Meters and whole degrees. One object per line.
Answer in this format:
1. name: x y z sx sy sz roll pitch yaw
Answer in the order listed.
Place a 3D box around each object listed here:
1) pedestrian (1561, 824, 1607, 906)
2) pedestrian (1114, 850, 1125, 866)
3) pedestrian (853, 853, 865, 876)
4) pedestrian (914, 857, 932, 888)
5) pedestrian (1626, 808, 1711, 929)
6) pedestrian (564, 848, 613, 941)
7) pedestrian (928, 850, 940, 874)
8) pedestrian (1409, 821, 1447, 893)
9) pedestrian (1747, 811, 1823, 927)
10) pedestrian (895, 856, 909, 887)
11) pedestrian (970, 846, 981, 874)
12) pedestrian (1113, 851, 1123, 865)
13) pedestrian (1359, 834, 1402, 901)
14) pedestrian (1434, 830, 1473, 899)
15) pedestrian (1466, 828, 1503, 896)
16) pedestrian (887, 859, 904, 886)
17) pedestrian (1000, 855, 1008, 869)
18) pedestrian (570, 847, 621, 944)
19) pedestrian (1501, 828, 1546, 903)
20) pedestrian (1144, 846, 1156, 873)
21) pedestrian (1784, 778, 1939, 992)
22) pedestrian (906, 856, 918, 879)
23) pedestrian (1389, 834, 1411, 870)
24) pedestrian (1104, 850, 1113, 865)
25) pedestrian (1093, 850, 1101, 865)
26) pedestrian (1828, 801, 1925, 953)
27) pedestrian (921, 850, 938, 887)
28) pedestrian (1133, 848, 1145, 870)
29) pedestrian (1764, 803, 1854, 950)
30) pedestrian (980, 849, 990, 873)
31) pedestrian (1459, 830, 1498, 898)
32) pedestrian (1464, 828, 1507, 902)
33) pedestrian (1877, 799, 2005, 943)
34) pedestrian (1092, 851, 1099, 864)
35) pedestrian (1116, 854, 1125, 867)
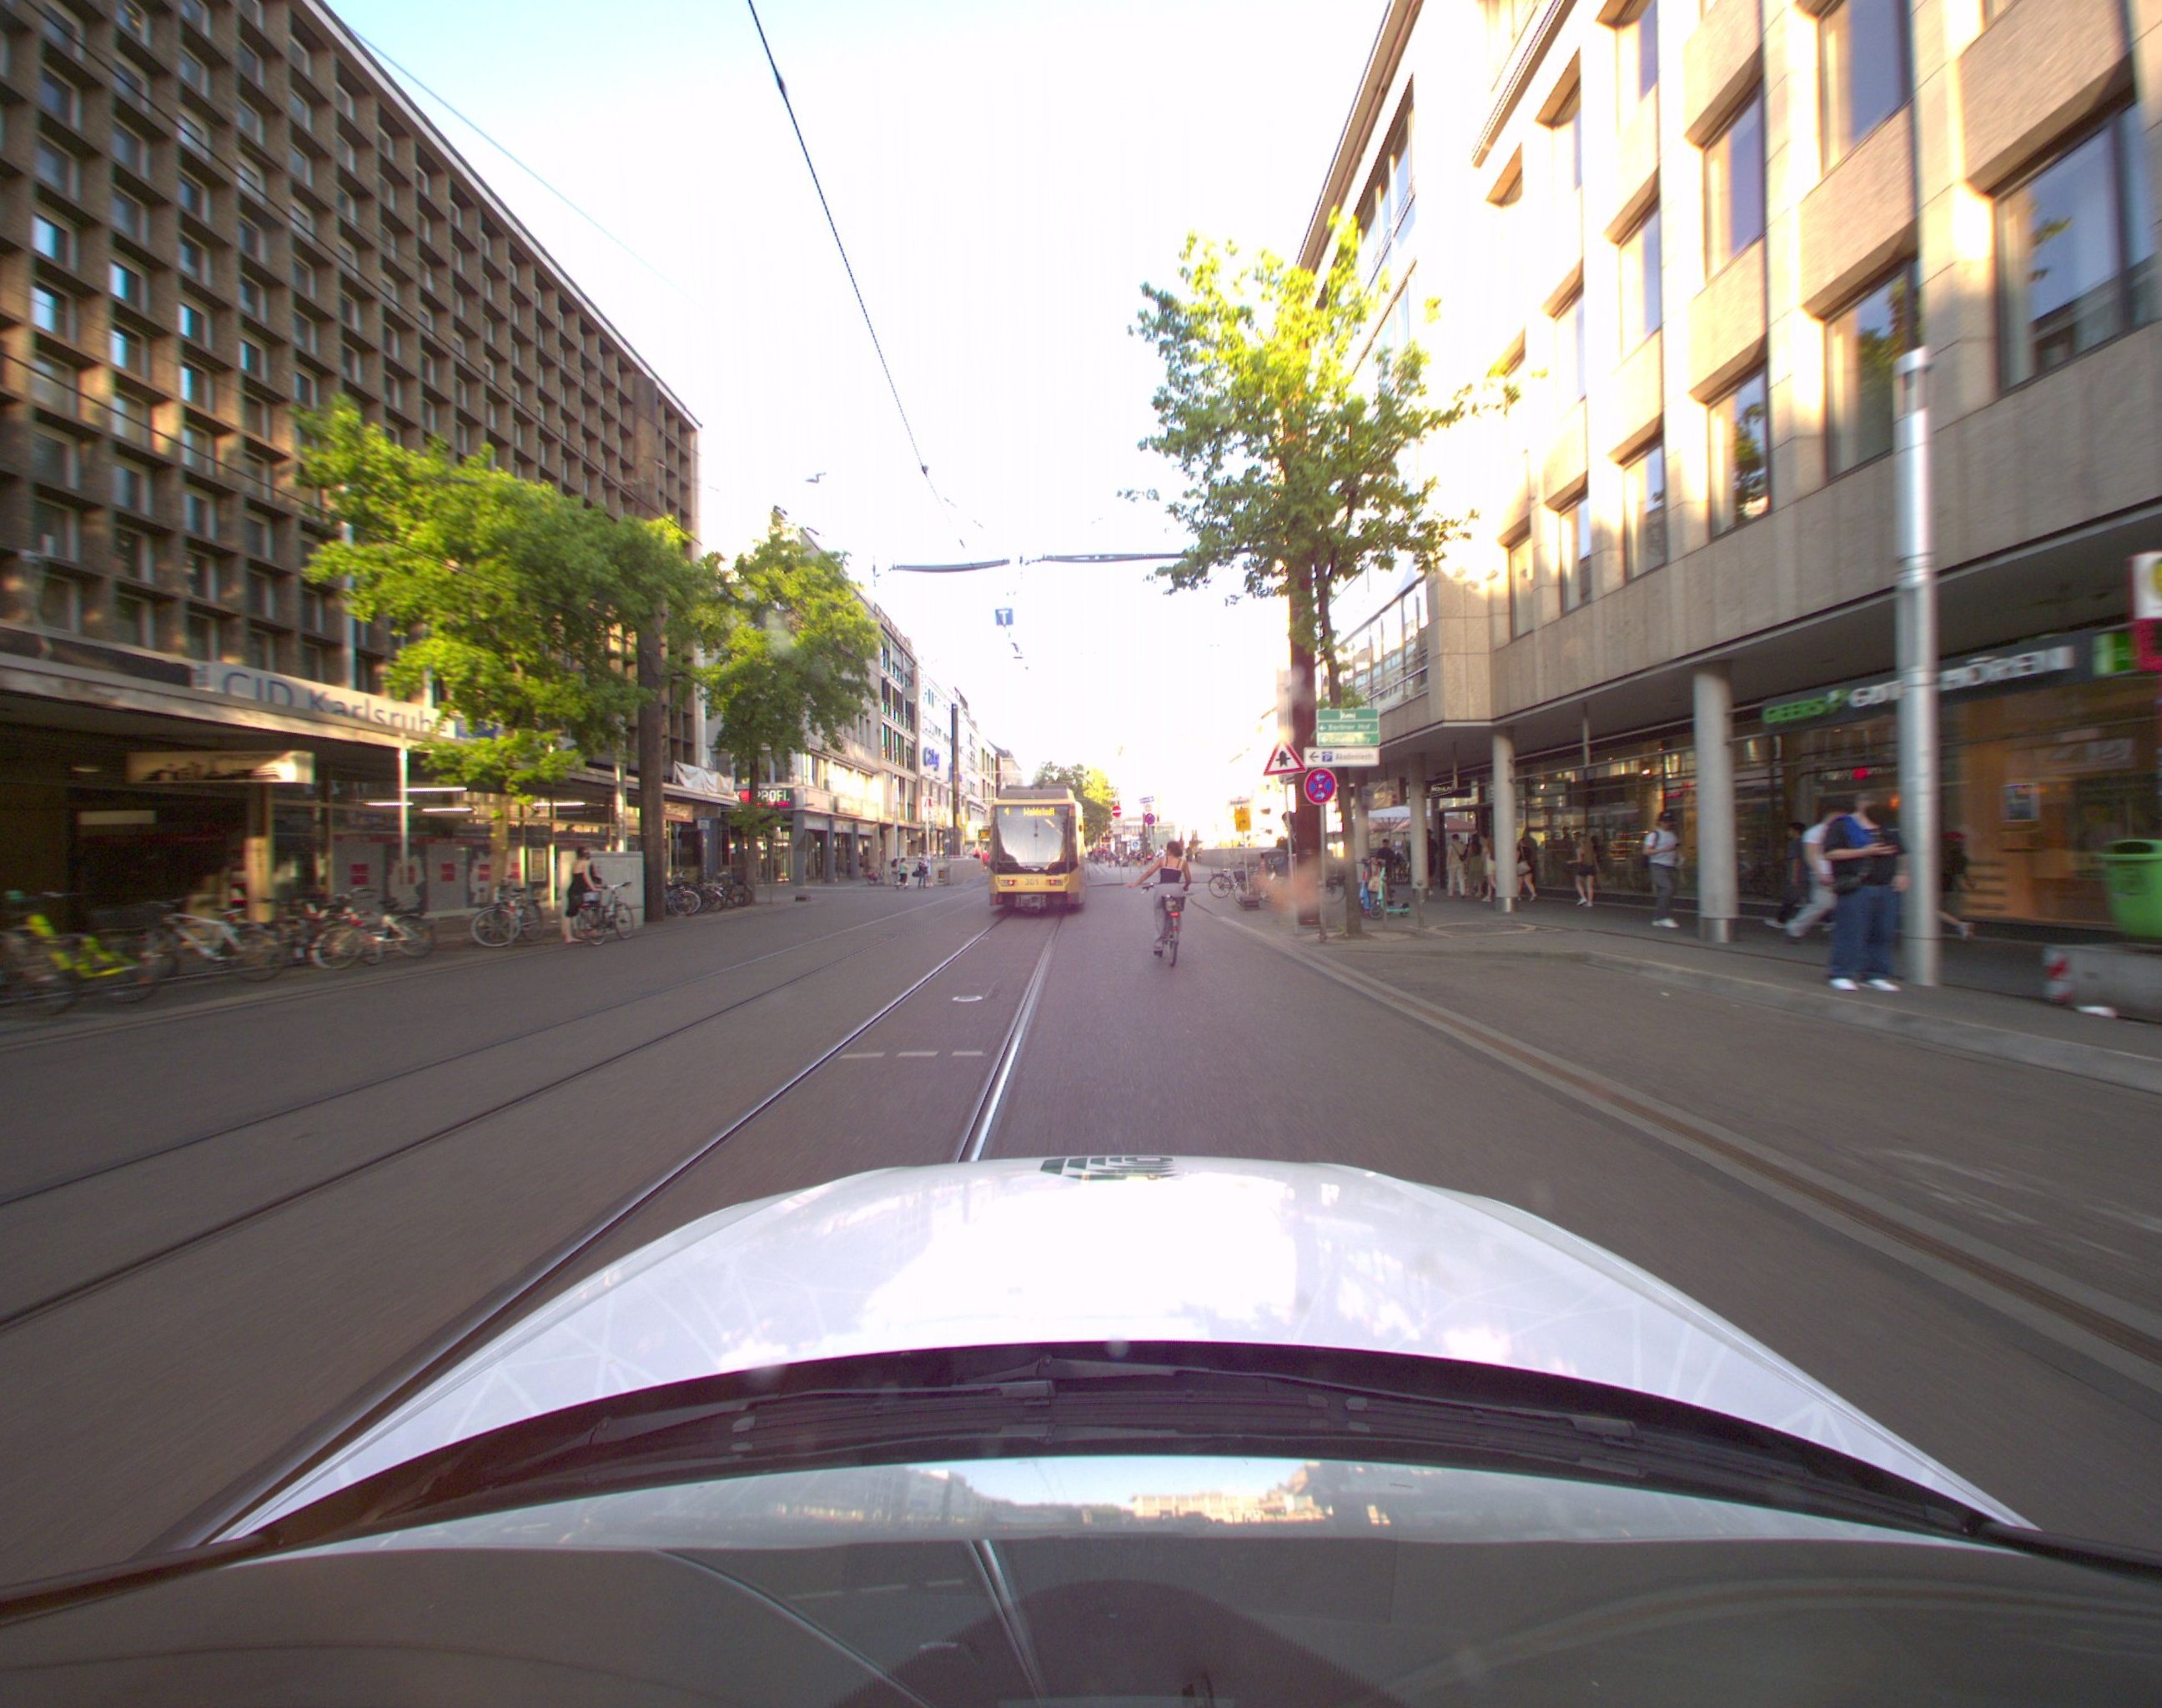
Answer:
1. pedestrian: 10.904 0.230 17.666 0.568 1.731 0.617 -2 0 -1
2. pedestrian: 3.975 0.410 83.773 0.759 1.579 0.800 -1 0 30
3. pedestrian: -16.862 0.767 61.893 0.711 1.725 0.709 -1 -1 -2
4. pedestrian: -7.910 0.923 40.677 0.680 1.542 0.607 -2 -1 8
5. pedestrian: 9.356 0.223 13.000 0.666 1.839 0.880 -2 -1 0
6. pedestrian: -9.184 0.734 15.182 0.595 1.699 0.539 0 0 29
7. pedestrian: -10.669 0.579 59.100 0.632 1.725 0.598 0 -2 -43
8. pedestrian: 9.911 0.086 23.292 0.684 2.013 0.783 -2 0 1
9. pedestrian: 10.881 0.230 12.600 0.568 1.731 0.617 -2 0 -1
10. pedestrian: -8.860 0.878 40.322 0.603 1.494 0.554 -1 -1 -8
11. pedestrian: -7.304 0.441 56.448 0.712 1.925 0.708 -1 -1 -5
12. pedestrian: 3.956 0.434 87.884 0.759 1.579 0.800 -1 0 30
13. pedestrian: 7.911 0.360 21.539 0.760 1.719 0.924 -2 -1 1
14. pedestrian: 10.007 0.274 21.887 0.660 1.787 0.719 -2 -1 1
15. pedestrian: 11.226 0.230 22.662 0.659 1.848 0.720 -2 -1 6
16. pedestrian: -9.916 1.002 43.591 0.548 1.434 0.689 -2 -1 38
17. pedestrian: -8.045 0.817 84.749 0.705 1.379 0.720 -1 -1 -1
18. pedestrian: -8.723 0.727 14.634 0.595 1.699 0.539 0 0 29
19. pedestrian: 10.830 0.279 19.947 0.660 1.787 0.719 -2 -1 1
20. pedestrian: 4.452 0.338 52.712 0.715 1.725 0.709 -1 -1 0
21. pedestrian: 7.103 0.274 7.447 0.666 1.839 0.708 -2 -1 0
22. pedestrian: -12.398 0.991 59.771 0.711 1.725 0.709 -1 -1 -2
23. pedestrian: 16.237 -0.116 41.494 0.805 1.823 0.807 -1 1 5
24. pedestrian: 3.112 0.376 91.971 0.787 1.661 0.772 -1 0 12
25. pedestrian: 1.841 0.415 96.068 0.761 1.661 0.797 -1 0 12
26. pedestrian: 9.805 0.274 10.059 0.537 1.806 0.604 -2 0 -1
27. pedestrian: -7.923 0.757 42.633 0.772 1.926 0.707 -1 -1 -8
28. pedestrian: 4.786 0.437 67.547 0.734 1.823 0.816 -1 0 -14
29. pedestrian: 9.264 0.279 10.381 0.537 1.806 0.604 -2 0 -1
30. pedestrian: -7.013 0.518 59.575 0.712 1.698 0.784 -1 -1 -6
31. pedestrian: 10.717 0.268 21.969 0.660 1.787 0.719 -2 -1 1
32. pedestrian: 10.025 0.264 20.204 0.660 1.787 0.719 -2 -1 1
33. pedestrian: 11.121 0.220 10.563 0.770 1.772 0.773 -2 -1 -1
34. pedestrian: 1.968 0.490 109.690 0.787 1.661 0.772 -1 0 12
35. pedestrian: 3.913 0.627 80.040 0.790 1.221 0.768 -1 0 -3
